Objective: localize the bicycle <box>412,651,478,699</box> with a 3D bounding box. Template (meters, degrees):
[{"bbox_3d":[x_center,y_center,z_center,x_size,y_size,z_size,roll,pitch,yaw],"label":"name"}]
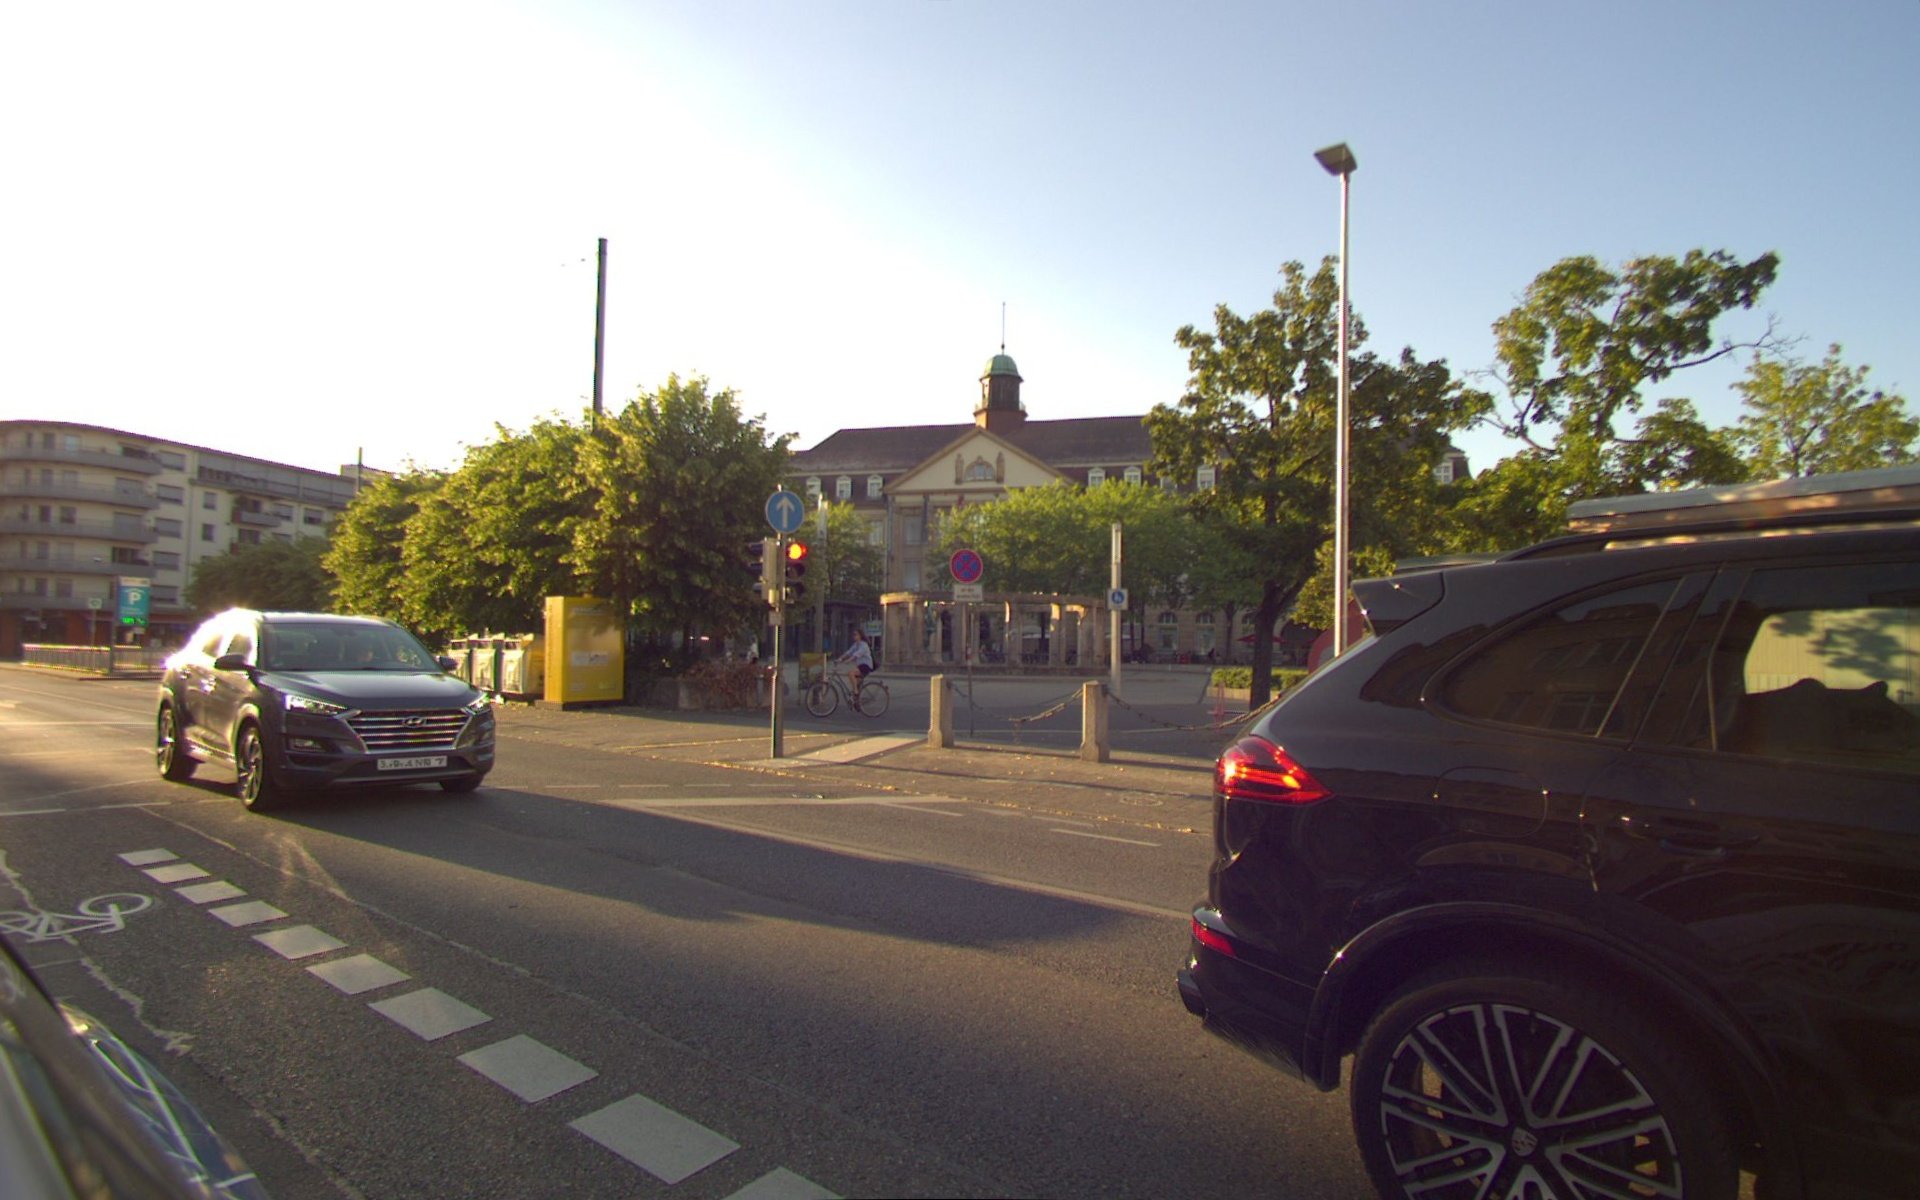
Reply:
[{"bbox_3d":[-14.171,2.033,27.860,0.444,1.262,1.571,-2,-3,38],"label":"bicycle"}]

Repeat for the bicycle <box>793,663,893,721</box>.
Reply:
[{"bbox_3d":[-2.378,1.857,20.695,1.889,1.126,0.707,3,-4,-34],"label":"bicycle"}]

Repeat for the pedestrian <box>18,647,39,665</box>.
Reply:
[{"bbox_3d":[-69.282,4.155,75.268,0.725,1.332,0.885,0,-3,13],"label":"pedestrian"}]

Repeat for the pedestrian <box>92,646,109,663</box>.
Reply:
[{"bbox_3d":[-68.382,4.314,80.521,0.813,1.332,0.684,-1,-3,16],"label":"pedestrian"}]

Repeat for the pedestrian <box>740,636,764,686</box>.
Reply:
[{"bbox_3d":[-7.039,2.053,34.206,0.693,1.633,0.843,1,-2,-18],"label":"pedestrian"}]

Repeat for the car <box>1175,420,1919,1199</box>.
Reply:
[{"bbox_3d":[2.899,0.586,1.859,4.558,1.727,1.929,-2,-5,40],"label":"car"}]

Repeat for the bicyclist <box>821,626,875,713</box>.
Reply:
[{"bbox_3d":[-2.302,1.421,20.764,0.766,1.737,0.857,3,-4,-35],"label":"bicyclist"}]

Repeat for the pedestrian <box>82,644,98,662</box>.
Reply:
[{"bbox_3d":[-67.933,4.133,79.044,0.887,1.332,0.724,-2,-4,37],"label":"pedestrian"}]

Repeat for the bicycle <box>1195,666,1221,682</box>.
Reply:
[{"bbox_3d":[20.052,5.973,81.688,2.012,1.270,0.577,0,-2,16],"label":"bicycle"}]

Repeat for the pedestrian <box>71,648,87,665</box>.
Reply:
[{"bbox_3d":[-68.232,4.366,78.399,0.888,1.332,0.723,-2,-4,39],"label":"pedestrian"}]

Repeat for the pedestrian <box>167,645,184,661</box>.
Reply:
[{"bbox_3d":[-65.808,4.443,84.892,0.721,1.332,0.891,1,-3,-12],"label":"pedestrian"}]

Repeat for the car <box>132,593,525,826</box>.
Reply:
[{"bbox_3d":[-6.134,0.930,9.615,4.446,1.702,1.853,-2,-5,41],"label":"car"}]

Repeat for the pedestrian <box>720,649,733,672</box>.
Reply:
[{"bbox_3d":[-11.339,2.921,49.049,0.454,1.071,0.531,0,-4,-31],"label":"pedestrian"}]

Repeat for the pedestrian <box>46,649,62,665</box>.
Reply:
[{"bbox_3d":[-68.509,4.280,76.531,0.875,1.201,0.734,3,-4,-41],"label":"pedestrian"}]

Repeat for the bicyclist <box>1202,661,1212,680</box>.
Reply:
[{"bbox_3d":[19.980,5.677,81.697,0.764,1.459,0.637,0,-2,16],"label":"bicyclist"}]
